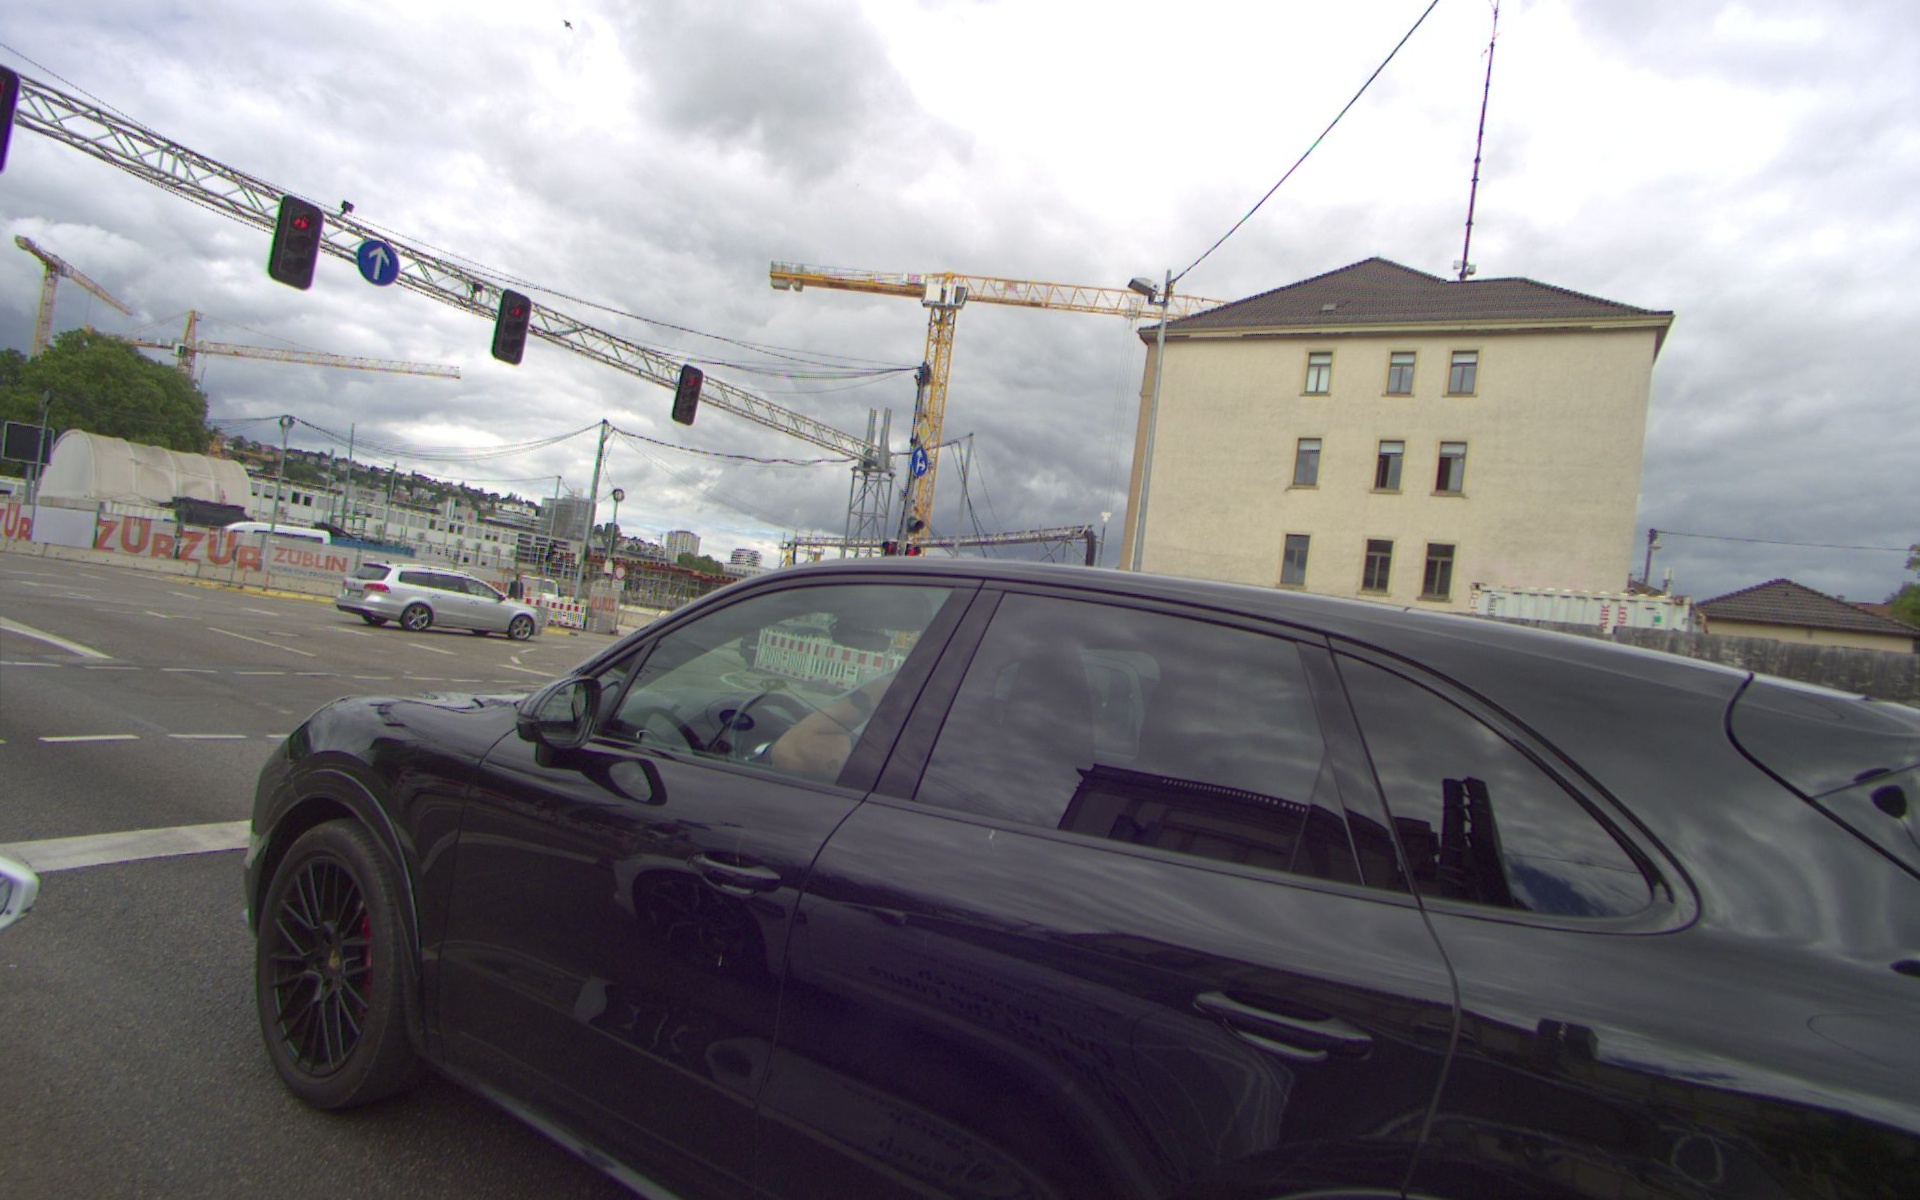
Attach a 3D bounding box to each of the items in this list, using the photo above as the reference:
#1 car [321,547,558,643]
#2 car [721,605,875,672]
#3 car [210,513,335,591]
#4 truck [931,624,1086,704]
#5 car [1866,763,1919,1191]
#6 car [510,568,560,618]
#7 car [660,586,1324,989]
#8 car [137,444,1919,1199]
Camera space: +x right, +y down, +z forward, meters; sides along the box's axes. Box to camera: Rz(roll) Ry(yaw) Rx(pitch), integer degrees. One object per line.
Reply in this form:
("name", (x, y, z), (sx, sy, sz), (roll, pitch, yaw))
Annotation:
("car", (-12.158, -0.041, 23.877), (1.653, 1.643, 4.721), (6, -2, 30))
("car", (-5.390, 1.333, 33.978), (1.994, 1.643, 4.801), (6, -3, 43))
("car", (-29.574, -2.044, 43.367), (1.660, 2.692, 3.979), (6, -2, 45))
("truck", (2.488, 3.069, 46.697), (2.585, 2.835, 8.994), (7, -3, 35))
("car", (5.764, 1.684, 2.566), (4.729, 1.644, 1.828), (6, -2, 32))
("car", (-19.164, -0.324, 45.295), (1.757, 1.976, 3.108), (8, -2, -25))
("car", (0.113, 0.982, 6.660), (3.934, 1.644, 1.679), (6, -2, 32))
("car", (-0.050, 0.679, 2.663), (4.410, 1.735, 1.828), (6, -2, 32))
